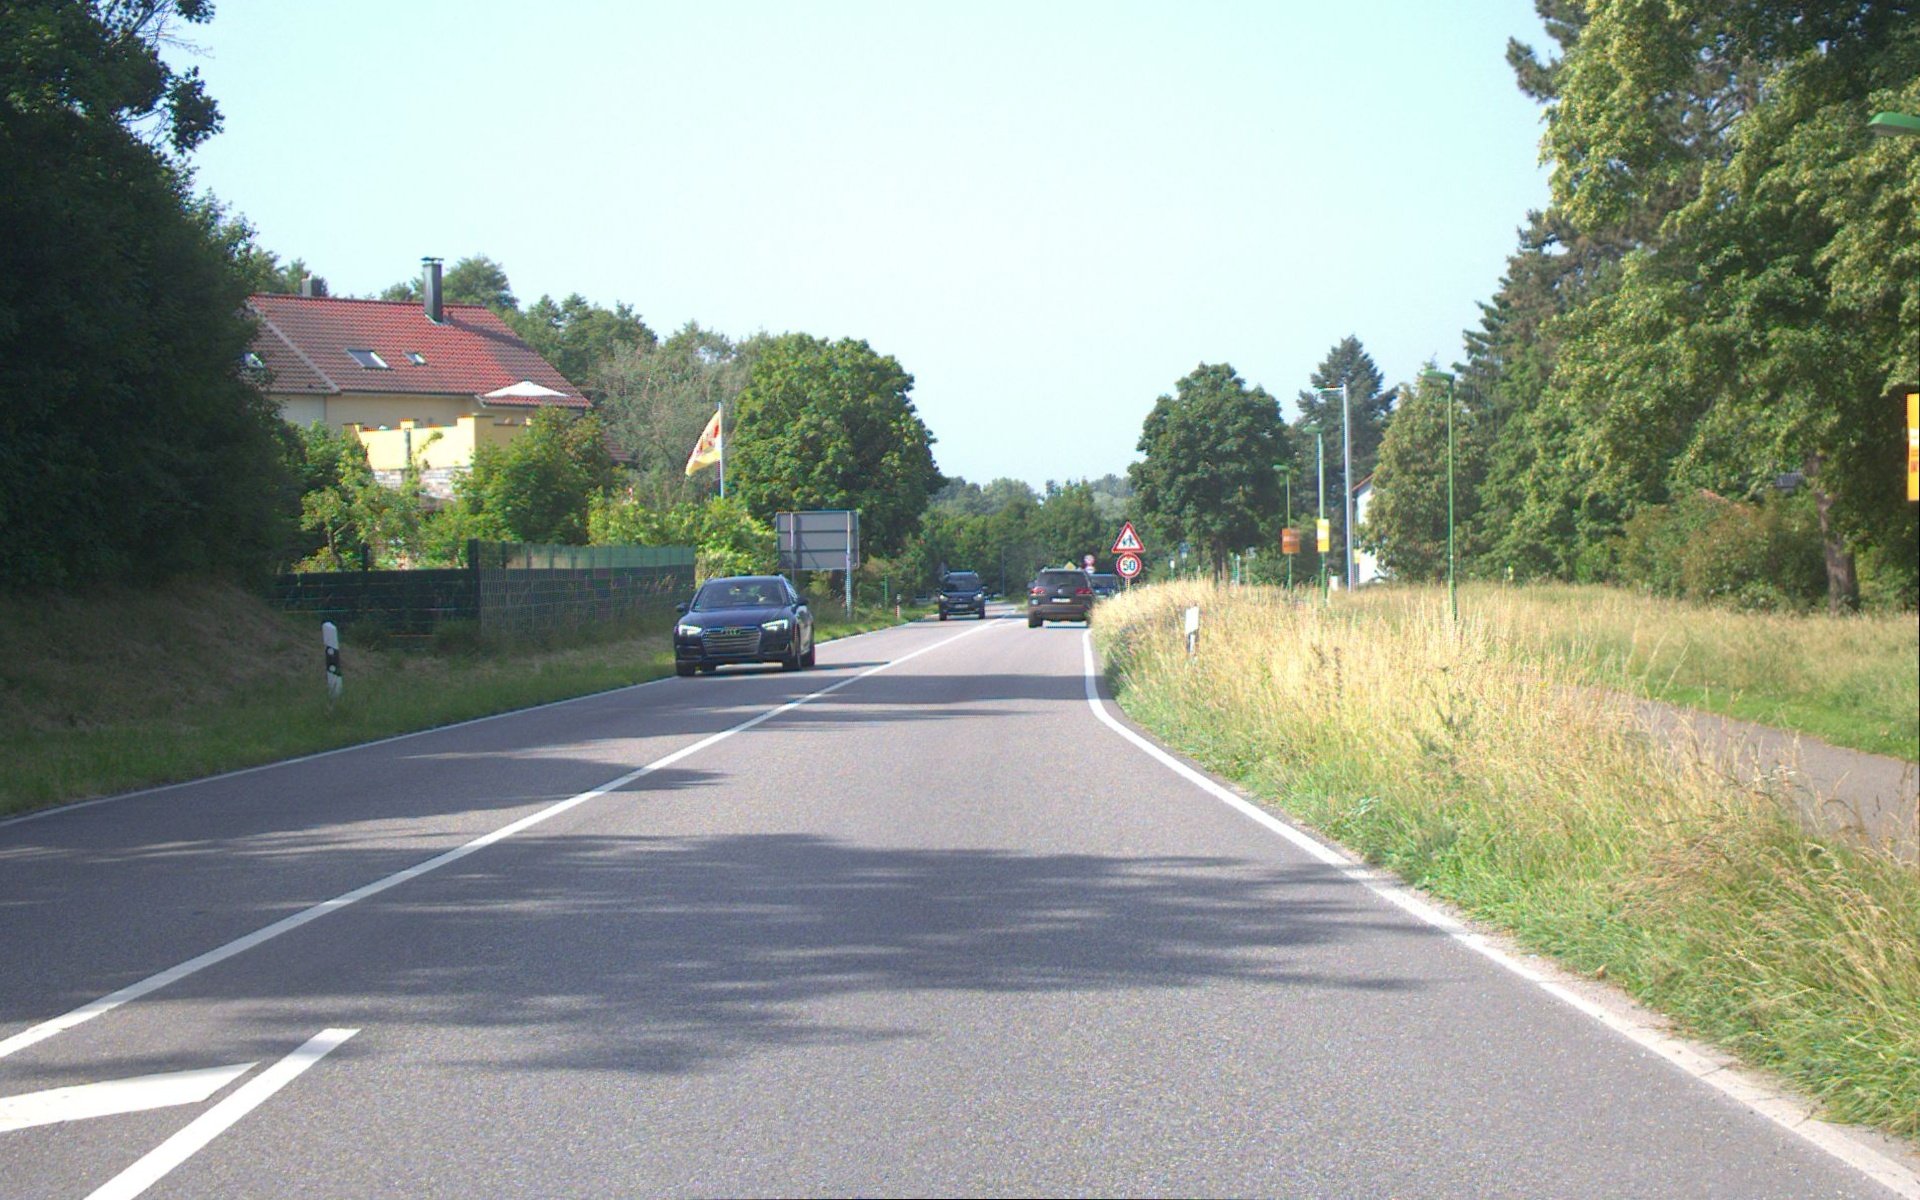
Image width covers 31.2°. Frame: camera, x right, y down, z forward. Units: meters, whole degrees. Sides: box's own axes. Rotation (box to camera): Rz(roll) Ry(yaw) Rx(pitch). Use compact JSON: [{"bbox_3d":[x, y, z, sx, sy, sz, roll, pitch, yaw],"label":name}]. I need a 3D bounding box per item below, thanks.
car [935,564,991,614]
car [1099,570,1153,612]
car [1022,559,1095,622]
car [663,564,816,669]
[{"bbox_3d":[0.125,-0.439,132.079,1.939,1.811,4.241,-2,0,2],"label":"car"},{"bbox_3d":[6.287,-0.353,130.621,1.735,1.511,3.915,-1,1,-2],"label":"car"},{"bbox_3d":[2.806,-0.294,98.641,1.925,1.765,4.000,-1,1,0],"label":"car"},{"bbox_3d":[-3.275,0.217,51.794,1.870,1.418,4.577,-3,1,1],"label":"car"}]
